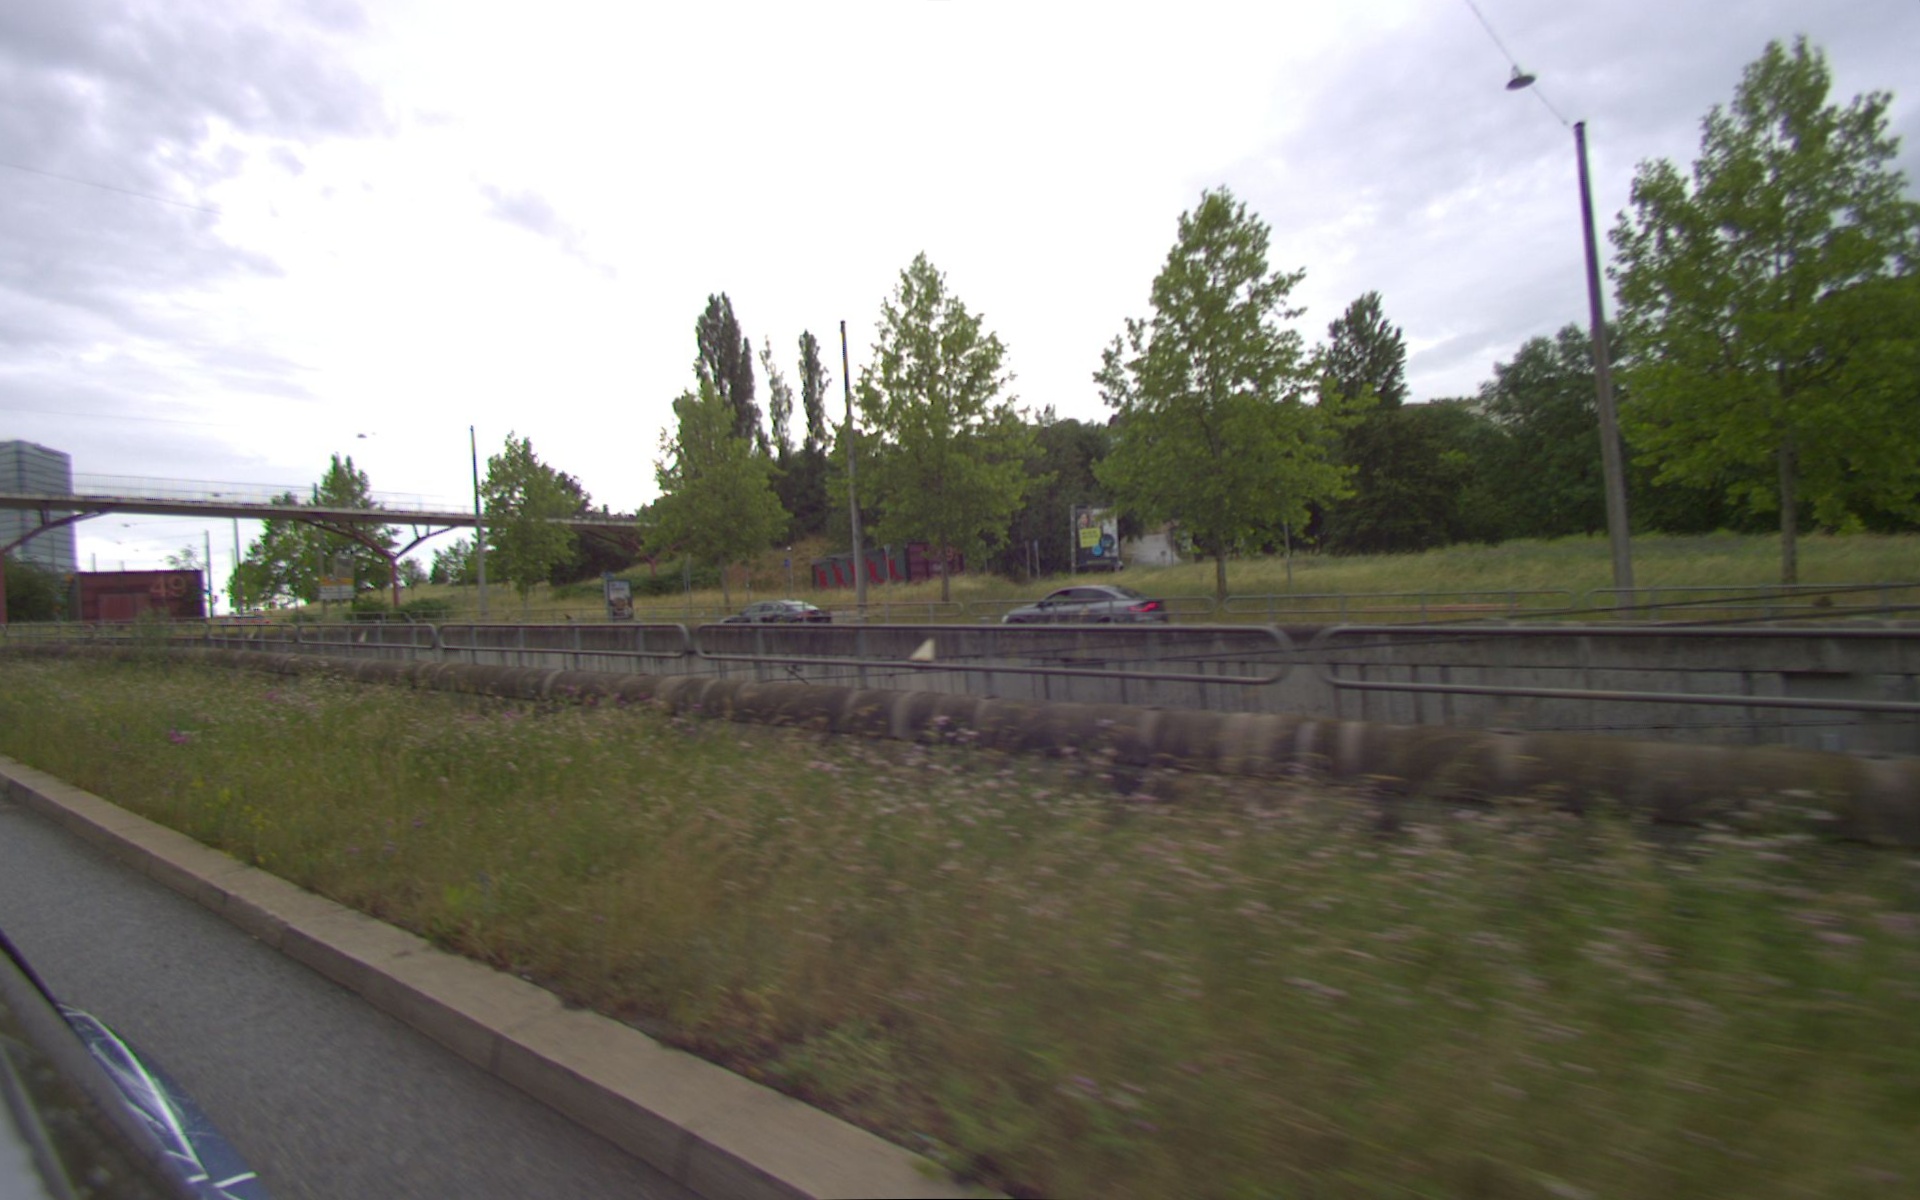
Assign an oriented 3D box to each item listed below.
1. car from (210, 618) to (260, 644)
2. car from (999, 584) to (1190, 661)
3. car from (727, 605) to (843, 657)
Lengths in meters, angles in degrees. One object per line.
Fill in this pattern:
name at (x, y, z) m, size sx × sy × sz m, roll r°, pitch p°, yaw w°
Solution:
car at (-48.282, 2.081, 67.385) m, size 4.431 × 1.539 × 1.640 m, roll -3°, pitch 0°, yaw 40°
car at (3.298, 0.573, 25.298) m, size 4.354 × 1.656 × 1.872 m, roll -2°, pitch 3°, yaw 40°
car at (-6.215, 1.111, 35.668) m, size 3.969 × 1.653 × 1.872 m, roll -3°, pitch 0°, yaw 40°
